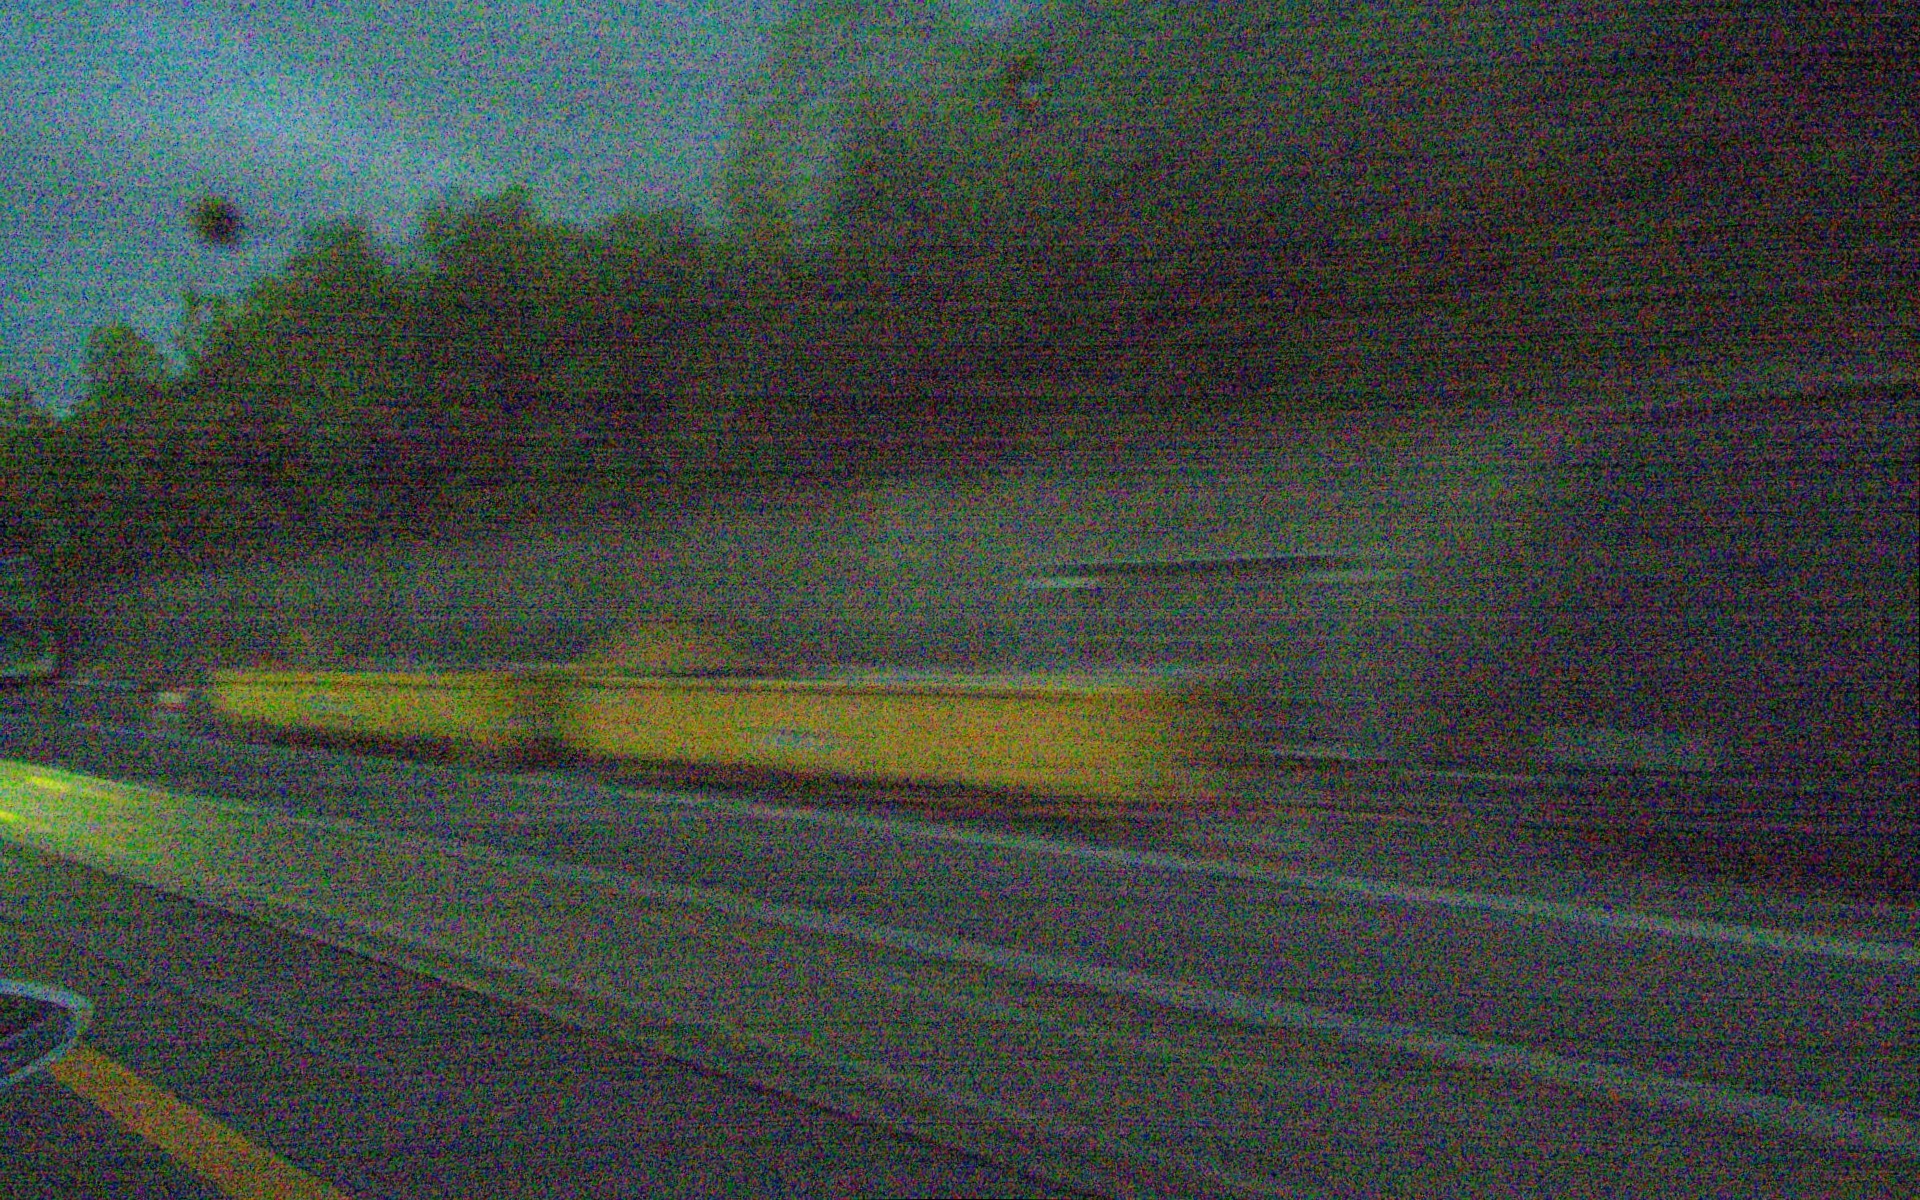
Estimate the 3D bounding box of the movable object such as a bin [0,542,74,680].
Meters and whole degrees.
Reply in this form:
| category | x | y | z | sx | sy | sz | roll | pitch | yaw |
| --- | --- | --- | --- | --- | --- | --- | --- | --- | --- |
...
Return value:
| category | x | y | z | sx | sy | sz | roll | pitch | yaw |
| --- | --- | --- | --- | --- | --- | --- | --- | --- | --- |
| movable object such as a bin | -25.579 | 0.322 | 25.876 | 5.500 | 3.362 | 2.558 | -1 | 0 | 33 |
